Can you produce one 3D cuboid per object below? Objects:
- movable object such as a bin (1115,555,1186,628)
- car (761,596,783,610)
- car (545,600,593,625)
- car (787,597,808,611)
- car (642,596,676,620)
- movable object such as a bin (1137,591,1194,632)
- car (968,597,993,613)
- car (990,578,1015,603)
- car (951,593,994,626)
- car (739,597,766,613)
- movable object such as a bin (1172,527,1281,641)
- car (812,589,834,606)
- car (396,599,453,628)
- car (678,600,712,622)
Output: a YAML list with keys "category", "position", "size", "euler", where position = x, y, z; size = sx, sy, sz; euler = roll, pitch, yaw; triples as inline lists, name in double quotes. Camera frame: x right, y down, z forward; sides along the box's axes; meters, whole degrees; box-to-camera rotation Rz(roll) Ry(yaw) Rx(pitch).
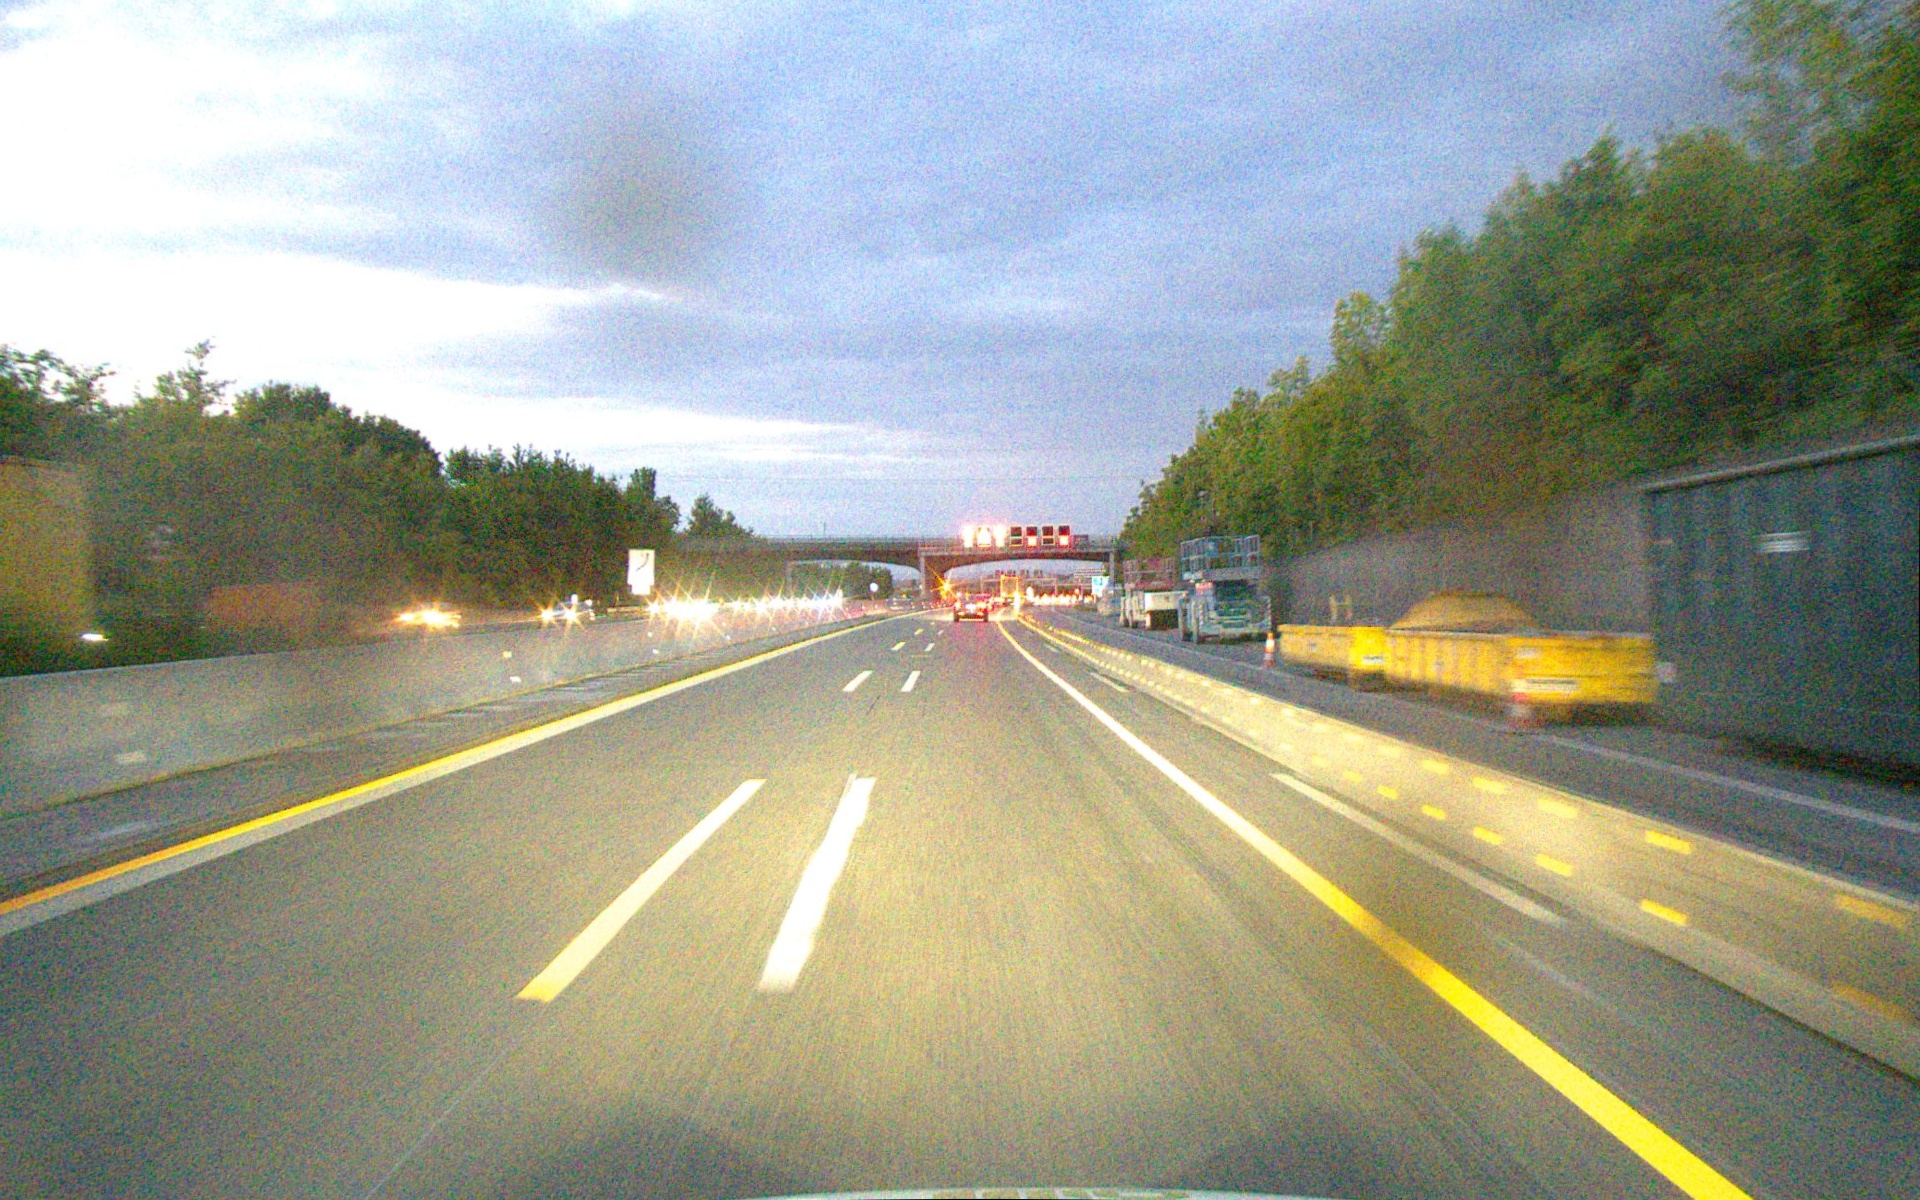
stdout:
- category: "movable object such as a bin"
  position: [8.615, -0.373, 75.453]
  size: [2.567, 3.162, 5.805]
  euler: [-1, 0, 0]
- category: "car"
  position: [-21.671, 0.325, 191.053]
  size: [1.787, 1.511, 4.703]
  euler: [1, 0, 2]
- category: "car"
  position: [-24.136, 0.762, 102.146]
  size: [1.638, 1.495, 4.648]
  euler: [1, 0, 3]
- category: "car"
  position: [-18.453, 0.437, 187.888]
  size: [1.773, 1.511, 4.703]
  euler: [1, 0, 2]
- category: "car"
  position: [-23.354, 0.624, 128.478]
  size: [1.714, 1.752, 4.670]
  euler: [1, 0, 0]
- category: "movable object such as a bin"
  position: [8.715, 0.497, 70.488]
  size: [1.952, 1.629, 4.085]
  euler: [-2, -1, 1]
- category: "car"
  position: [1.848, 0.456, 149.141]
  size: [1.930, 1.462, 4.002]
  euler: [1, 0, 5]
- category: "car"
  position: [6.164, -1.367, 240.737]
  size: [3.530, 3.455, 8.015]
  euler: [1, 0, 2]
- category: "car"
  position: [0.636, 0.494, 88.409]
  size: [2.219, 1.650, 4.000]
  euler: [1, 0, 0]
- category: "car"
  position: [-19.144, 0.470, 152.650]
  size: [1.714, 1.480, 4.671]
  euler: [1, 0, 2]
- category: "movable object such as a bin"
  position: [8.362, -0.486, 52.495]
  size: [2.511, 3.376, 5.578]
  euler: [-1, 0, 0]
- category: "car"
  position: [-15.391, -0.265, 186.473]
  size: [1.861, 1.768, 4.809]
  euler: [1, 0, 2]
- category: "car"
  position: [-28.876, 0.724, 89.335]
  size: [1.544, 1.495, 4.227]
  euler: [1, 0, 2]
- category: "car"
  position: [-20.415, 0.843, 127.751]
  size: [1.769, 1.616, 4.877]
  euler: [1, 0, 0]
